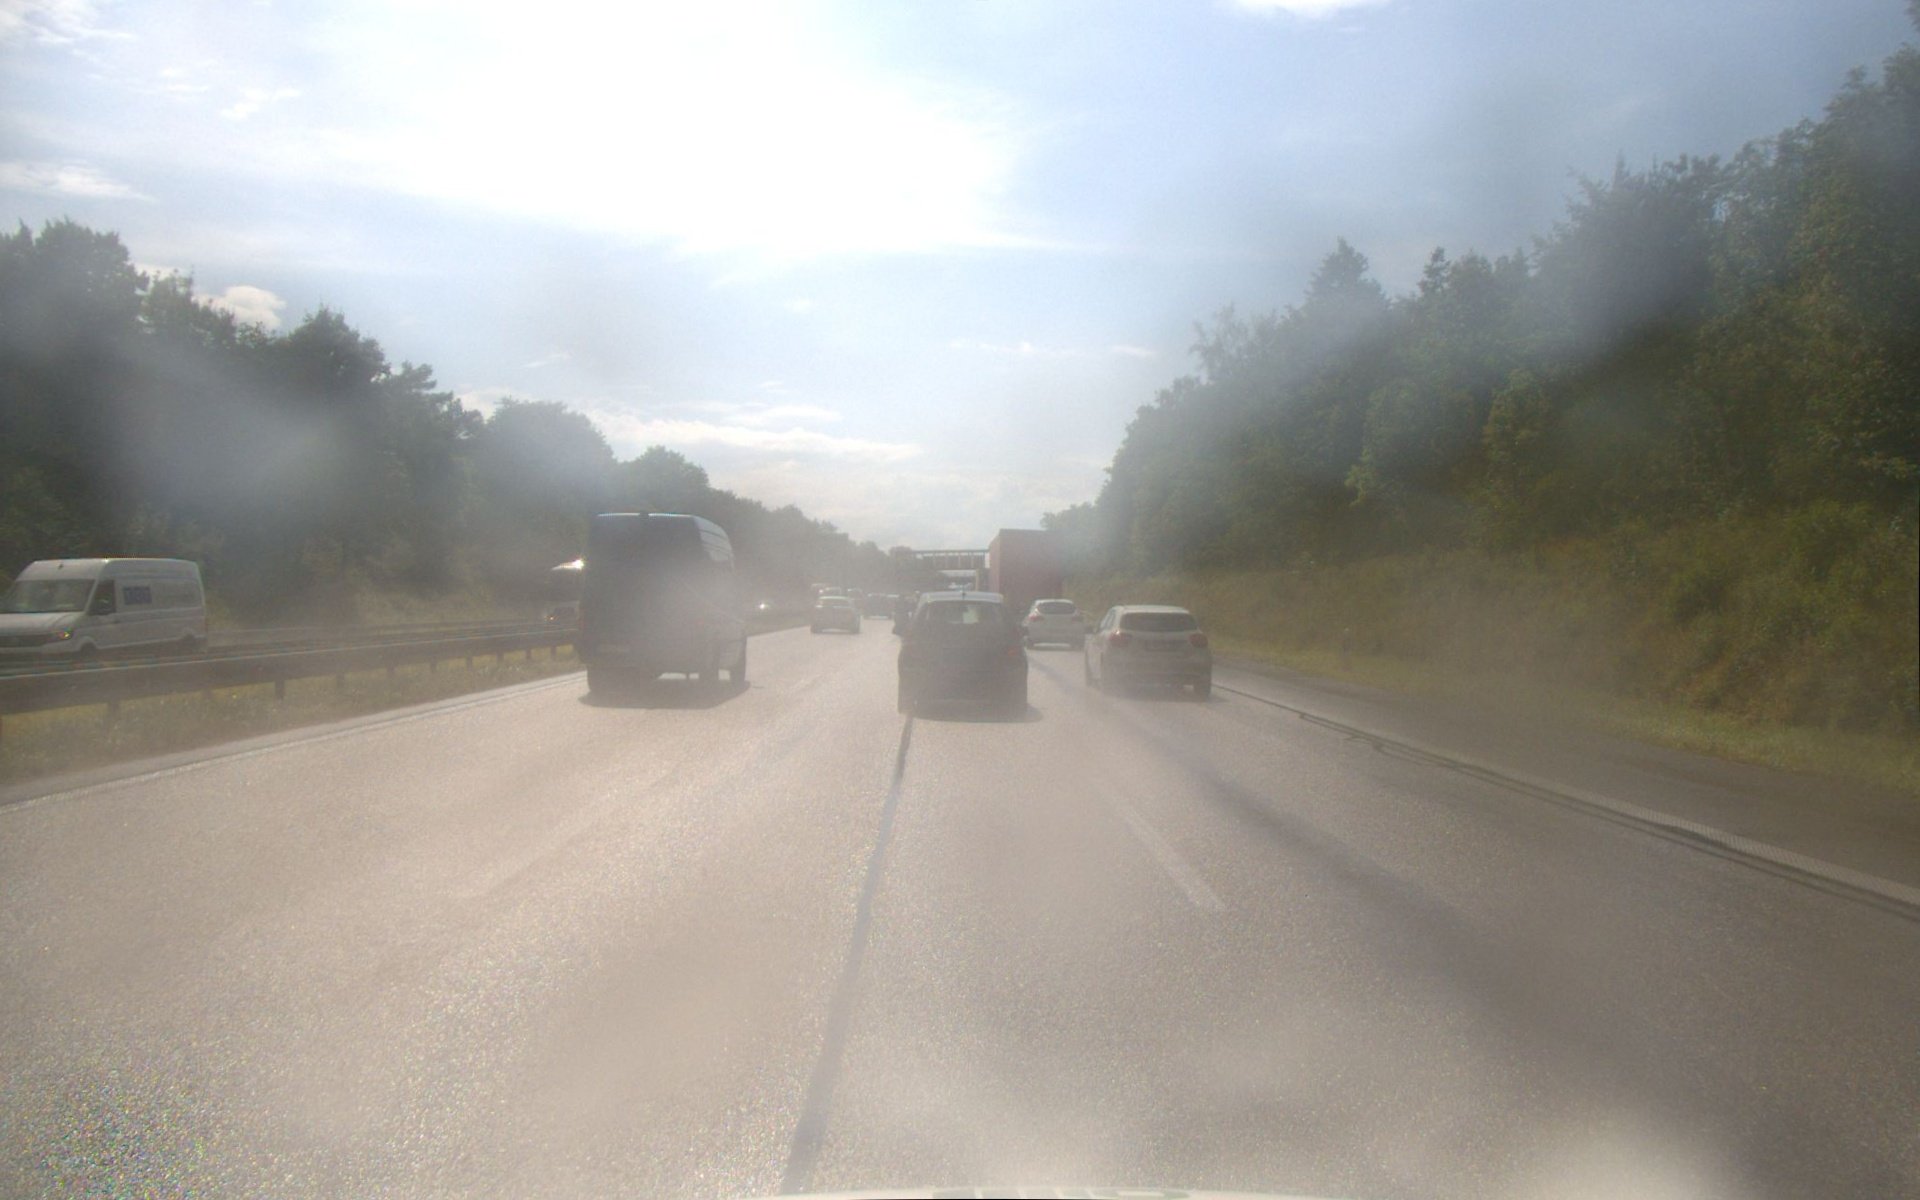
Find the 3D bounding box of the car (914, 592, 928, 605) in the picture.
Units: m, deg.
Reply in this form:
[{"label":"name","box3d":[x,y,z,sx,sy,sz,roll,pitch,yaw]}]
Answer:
[{"label":"car","box3d":[-5.508,-0.218,234.543,1.953,1.731,3.999,0,0,-1]}]

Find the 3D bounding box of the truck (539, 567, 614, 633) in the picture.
[{"label":"truck","box3d":[-23.732,-0.016,102.723,2.929,3.898,6.864,1,0,0]}]

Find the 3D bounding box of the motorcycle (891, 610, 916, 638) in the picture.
[{"label":"motorcycle","box3d":[-2.130,0.904,62.619,0.873,1.018,2.895,1,0,-2]}]

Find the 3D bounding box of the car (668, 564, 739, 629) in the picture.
[{"label":"car","box3d":[-10.382,-0.120,67.353,2.139,2.495,5.746,1,0,-2]}]

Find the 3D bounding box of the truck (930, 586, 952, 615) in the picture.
[{"label":"truck","box3d":[-1.973,0.064,170.583,2.148,2.926,4.848,1,0,-2]}]

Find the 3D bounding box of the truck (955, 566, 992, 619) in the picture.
[{"label":"truck","box3d":[1.205,-0.643,150.713,3.189,4.558,12.420,1,0,0]}]

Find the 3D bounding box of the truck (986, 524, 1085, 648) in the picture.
[{"label":"truck","box3d":[3.073,-0.531,72.856,3.575,4.803,16.778,1,0,0]}]

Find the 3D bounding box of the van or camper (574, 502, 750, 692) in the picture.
[{"label":"van or camper","box3d":[-4.647,-0.039,26.626,1.953,2.715,5.383,1,0,-2]}]

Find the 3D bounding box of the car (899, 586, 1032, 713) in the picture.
[{"label":"car","box3d":[0.024,0.638,22.913,1.683,1.595,3.483,1,0,-2]}]

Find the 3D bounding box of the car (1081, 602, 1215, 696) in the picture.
[{"label":"car","box3d":[3.090,0.766,27.890,1.658,1.450,4.218,1,0,-2]}]

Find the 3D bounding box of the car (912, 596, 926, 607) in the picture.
[{"label":"car","box3d":[-4.742,0.162,191.394,1.518,1.289,3.483,1,0,-2]}]

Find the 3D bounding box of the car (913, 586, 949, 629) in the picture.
[{"label":"car","box3d":[-1.273,0.324,72.237,1.500,1.777,3.483,1,0,-2]}]

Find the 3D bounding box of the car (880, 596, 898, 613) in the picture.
[{"label":"car","box3d":[-5.956,0.396,138.939,1.431,1.418,3.310,1,0,-2]}]

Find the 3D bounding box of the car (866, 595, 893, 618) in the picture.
[{"label":"car","box3d":[-5.367,0.461,111.051,1.716,1.482,3.388,1,0,-2]}]

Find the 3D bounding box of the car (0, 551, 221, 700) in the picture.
[{"label":"car","box3d":[-18.783,0.505,36.206,2.217,2.920,6.929,1,0,-2]}]

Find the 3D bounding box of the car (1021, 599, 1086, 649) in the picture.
[{"label":"car","box3d":[2.845,0.706,50.759,1.646,1.467,3.903,1,0,-2]}]

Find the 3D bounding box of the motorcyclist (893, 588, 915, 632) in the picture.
[{"label":"motorcyclist","box3d":[-2.106,0.380,62.578,0.785,1.662,1.013,1,0,-2]}]

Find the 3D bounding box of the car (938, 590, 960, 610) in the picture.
[{"label":"car","box3d":[-0.817,0.034,119.681,1.521,1.407,3.209,1,0,-2]}]

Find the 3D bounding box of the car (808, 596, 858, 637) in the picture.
[{"label":"car","box3d":[-5.151,0.651,67.289,1.817,1.578,3.483,1,0,-2]}]

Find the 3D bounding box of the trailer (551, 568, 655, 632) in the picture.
[{"label":"trailer","box3d":[-23.662,0.001,110.902,2.929,3.898,17.952,1,0,0]}]

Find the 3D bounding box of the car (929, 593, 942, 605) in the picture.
[{"label":"car","box3d":[-3.793,-0.119,254.714,1.953,1.759,3.999,0,0,-1]}]
